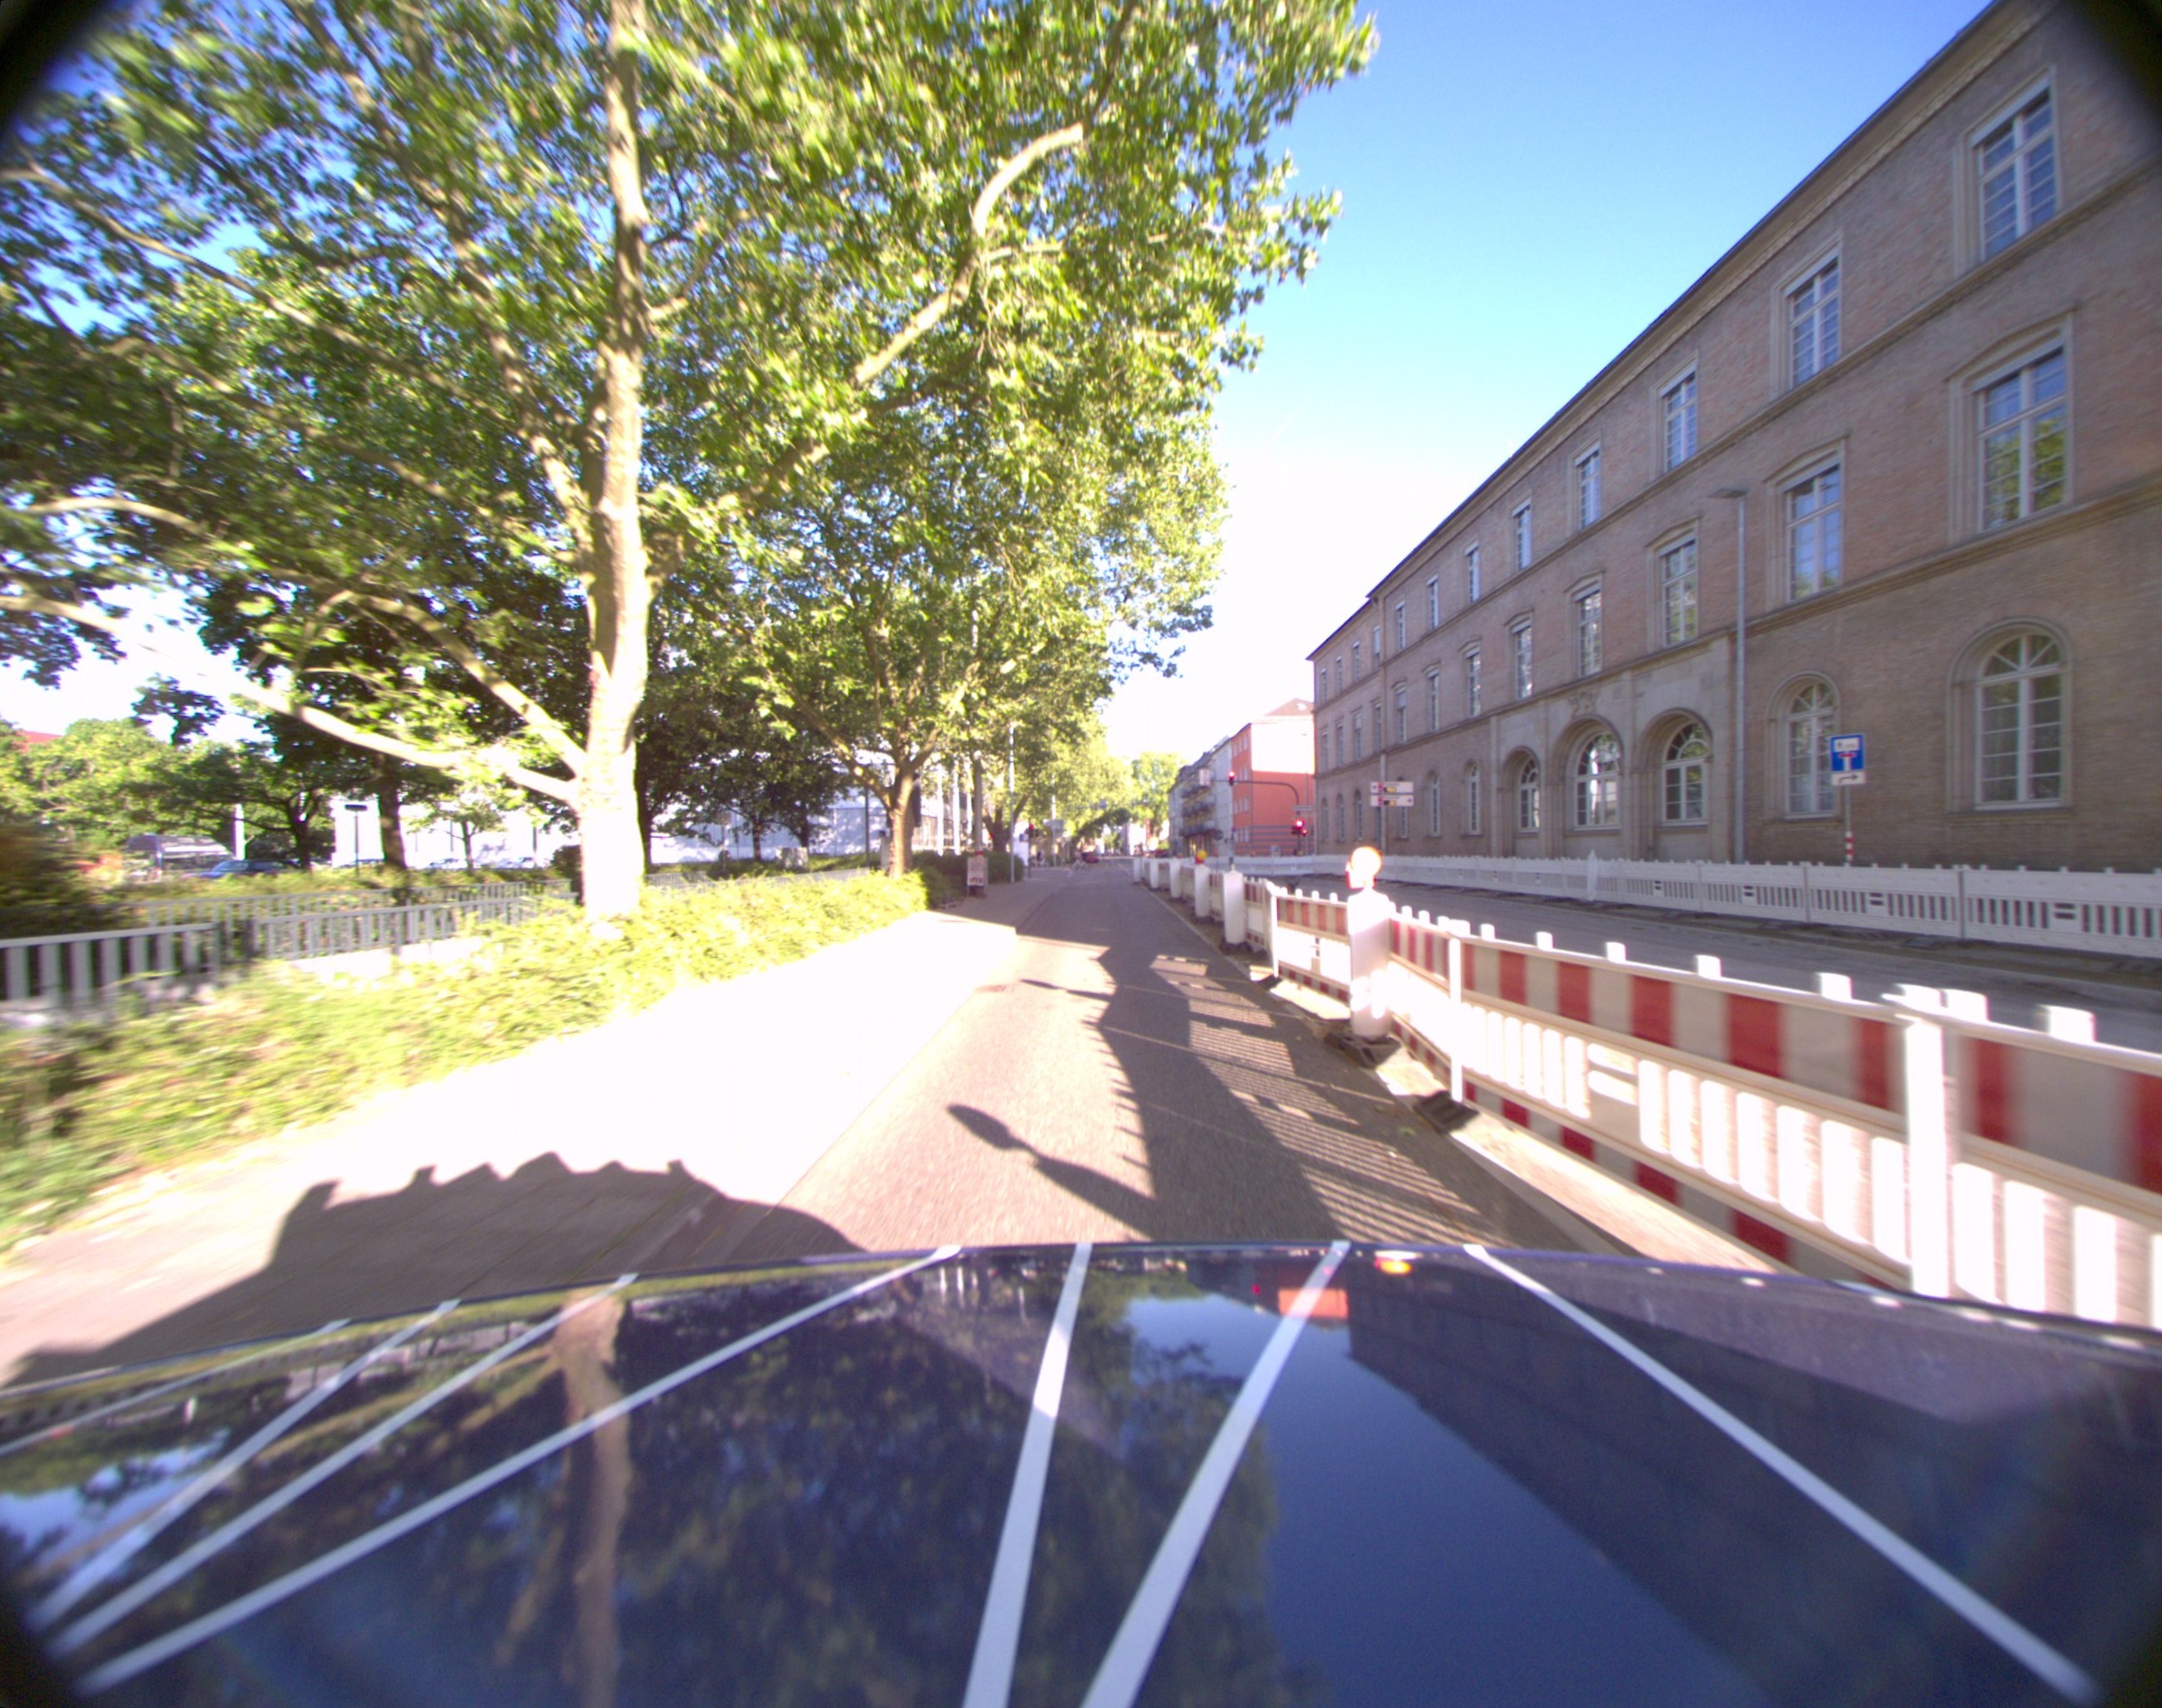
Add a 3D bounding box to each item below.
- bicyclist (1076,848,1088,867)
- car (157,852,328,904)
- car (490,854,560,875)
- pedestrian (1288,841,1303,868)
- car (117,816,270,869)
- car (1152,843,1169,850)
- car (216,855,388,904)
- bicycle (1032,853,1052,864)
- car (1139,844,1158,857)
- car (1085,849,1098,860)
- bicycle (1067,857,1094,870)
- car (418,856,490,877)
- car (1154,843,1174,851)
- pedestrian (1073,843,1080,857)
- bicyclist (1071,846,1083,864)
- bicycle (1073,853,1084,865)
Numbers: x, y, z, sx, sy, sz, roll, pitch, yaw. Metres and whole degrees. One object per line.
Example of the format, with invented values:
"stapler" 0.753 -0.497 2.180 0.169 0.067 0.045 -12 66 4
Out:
"bicyclist" 0.077 0.249 57.295 0.837 1.364 0.792 1 -1 3
"car" -32.172 0.855 29.383 1.786 1.801 4.311 -1 0 0
"car" -40.733 0.725 55.703 3.848 1.476 1.630 -1 1 -1
"pedestrian" 14.055 0.034 49.815 0.883 1.761 0.748 -1 1 11
"car" -46.883 -0.593 40.356 1.999 2.557 5.158 -1 0 0
"car" 19.193 -1.780 184.111 3.996 1.689 1.834 -1 1 3
"car" -28.173 0.850 27.722 1.786 1.592 4.311 -1 0 0
"bicycle" -3.554 0.398 69.333 1.638 0.993 0.621 1 3 -24
"car" 9.954 -0.503 111.687 1.999 1.807 5.121 1 2 -4
"car" 1.576 0.075 112.869 1.786 1.520 4.657 -1 0 0
"bicycle" -0.034 0.729 57.292 1.990 0.993 0.790 1 -1 3
"car" -45.456 0.909 55.121 3.848 1.476 1.630 -1 1 -1
"car" 17.407 -1.508 158.865 3.996 1.689 1.834 -1 1 3
"pedestrian" -0.588 -0.499 95.334 0.671 1.787 0.665 -3 3 -4
"bicyclist" -0.339 0.108 71.471 0.949 1.630 1.008 -2 1 9
"bicycle" -0.235 0.476 71.695 0.703 1.060 1.929 -1 -1 9
